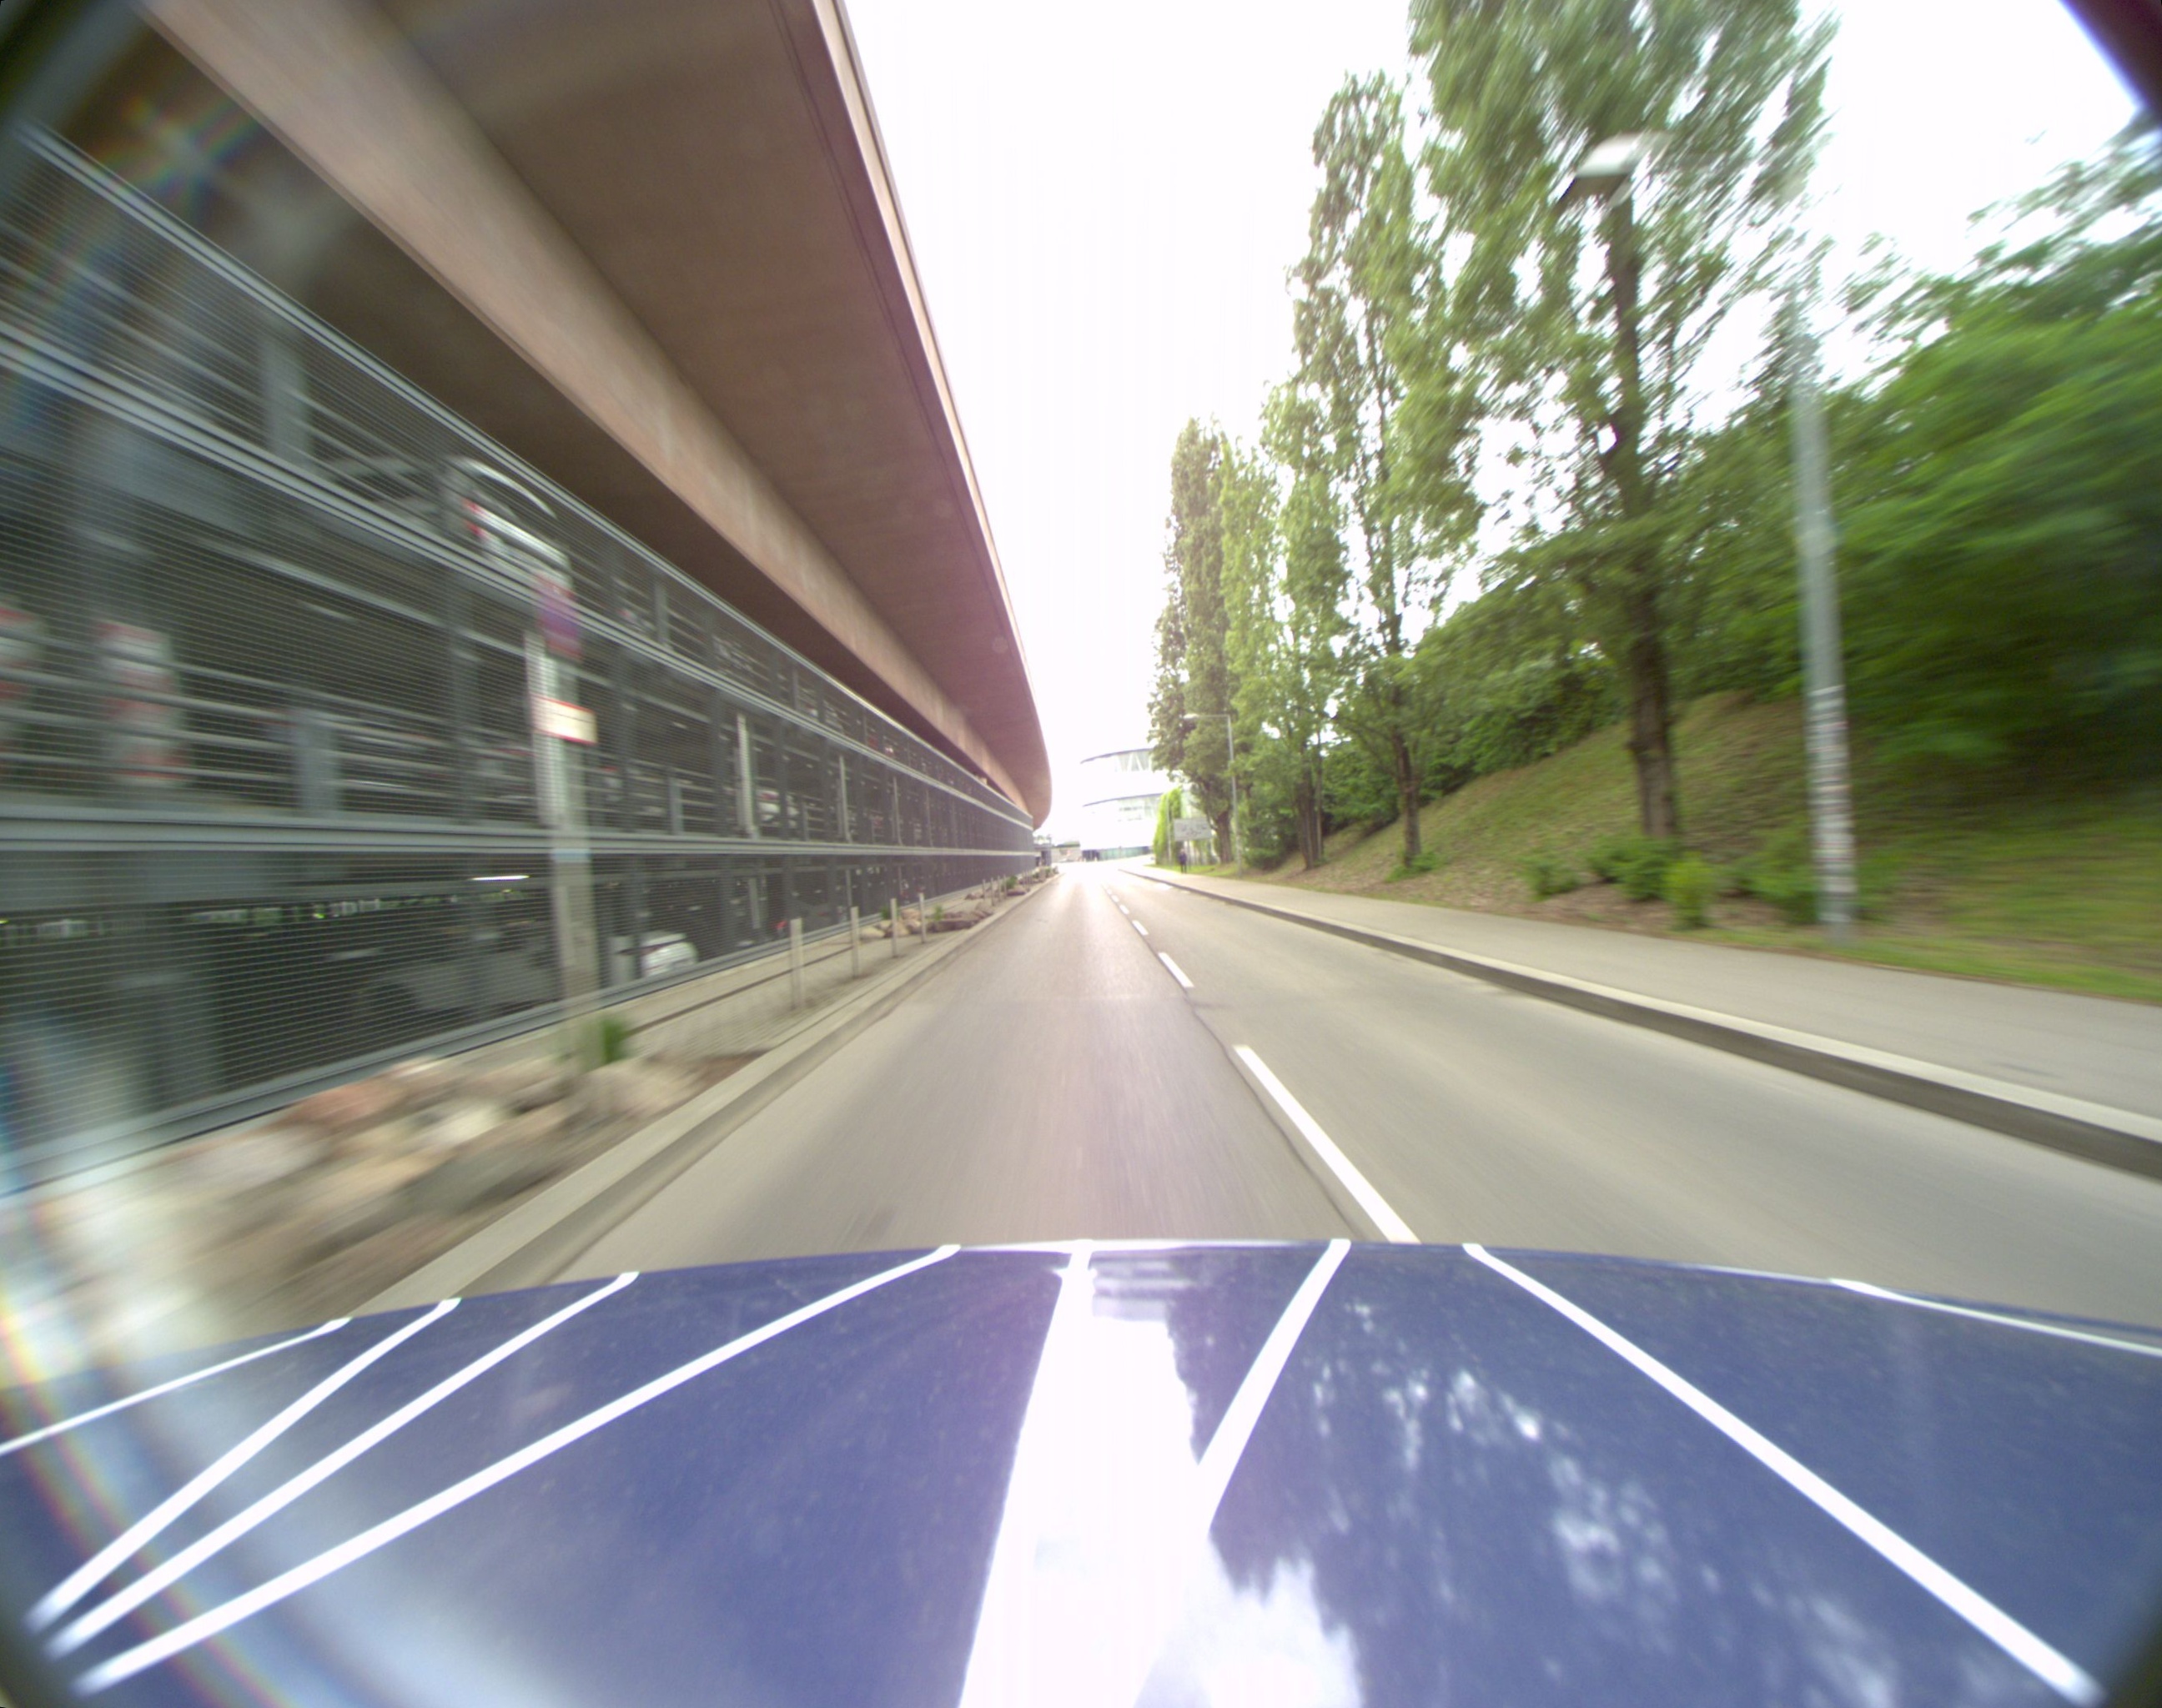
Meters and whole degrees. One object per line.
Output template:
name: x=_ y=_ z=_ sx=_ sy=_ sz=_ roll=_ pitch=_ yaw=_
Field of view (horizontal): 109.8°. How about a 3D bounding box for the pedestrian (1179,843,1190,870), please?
pedestrian: x=7.478 y=0.191 z=54.955 sx=0.662 sy=1.883 sz=0.736 roll=-2 pitch=1 yaw=0
